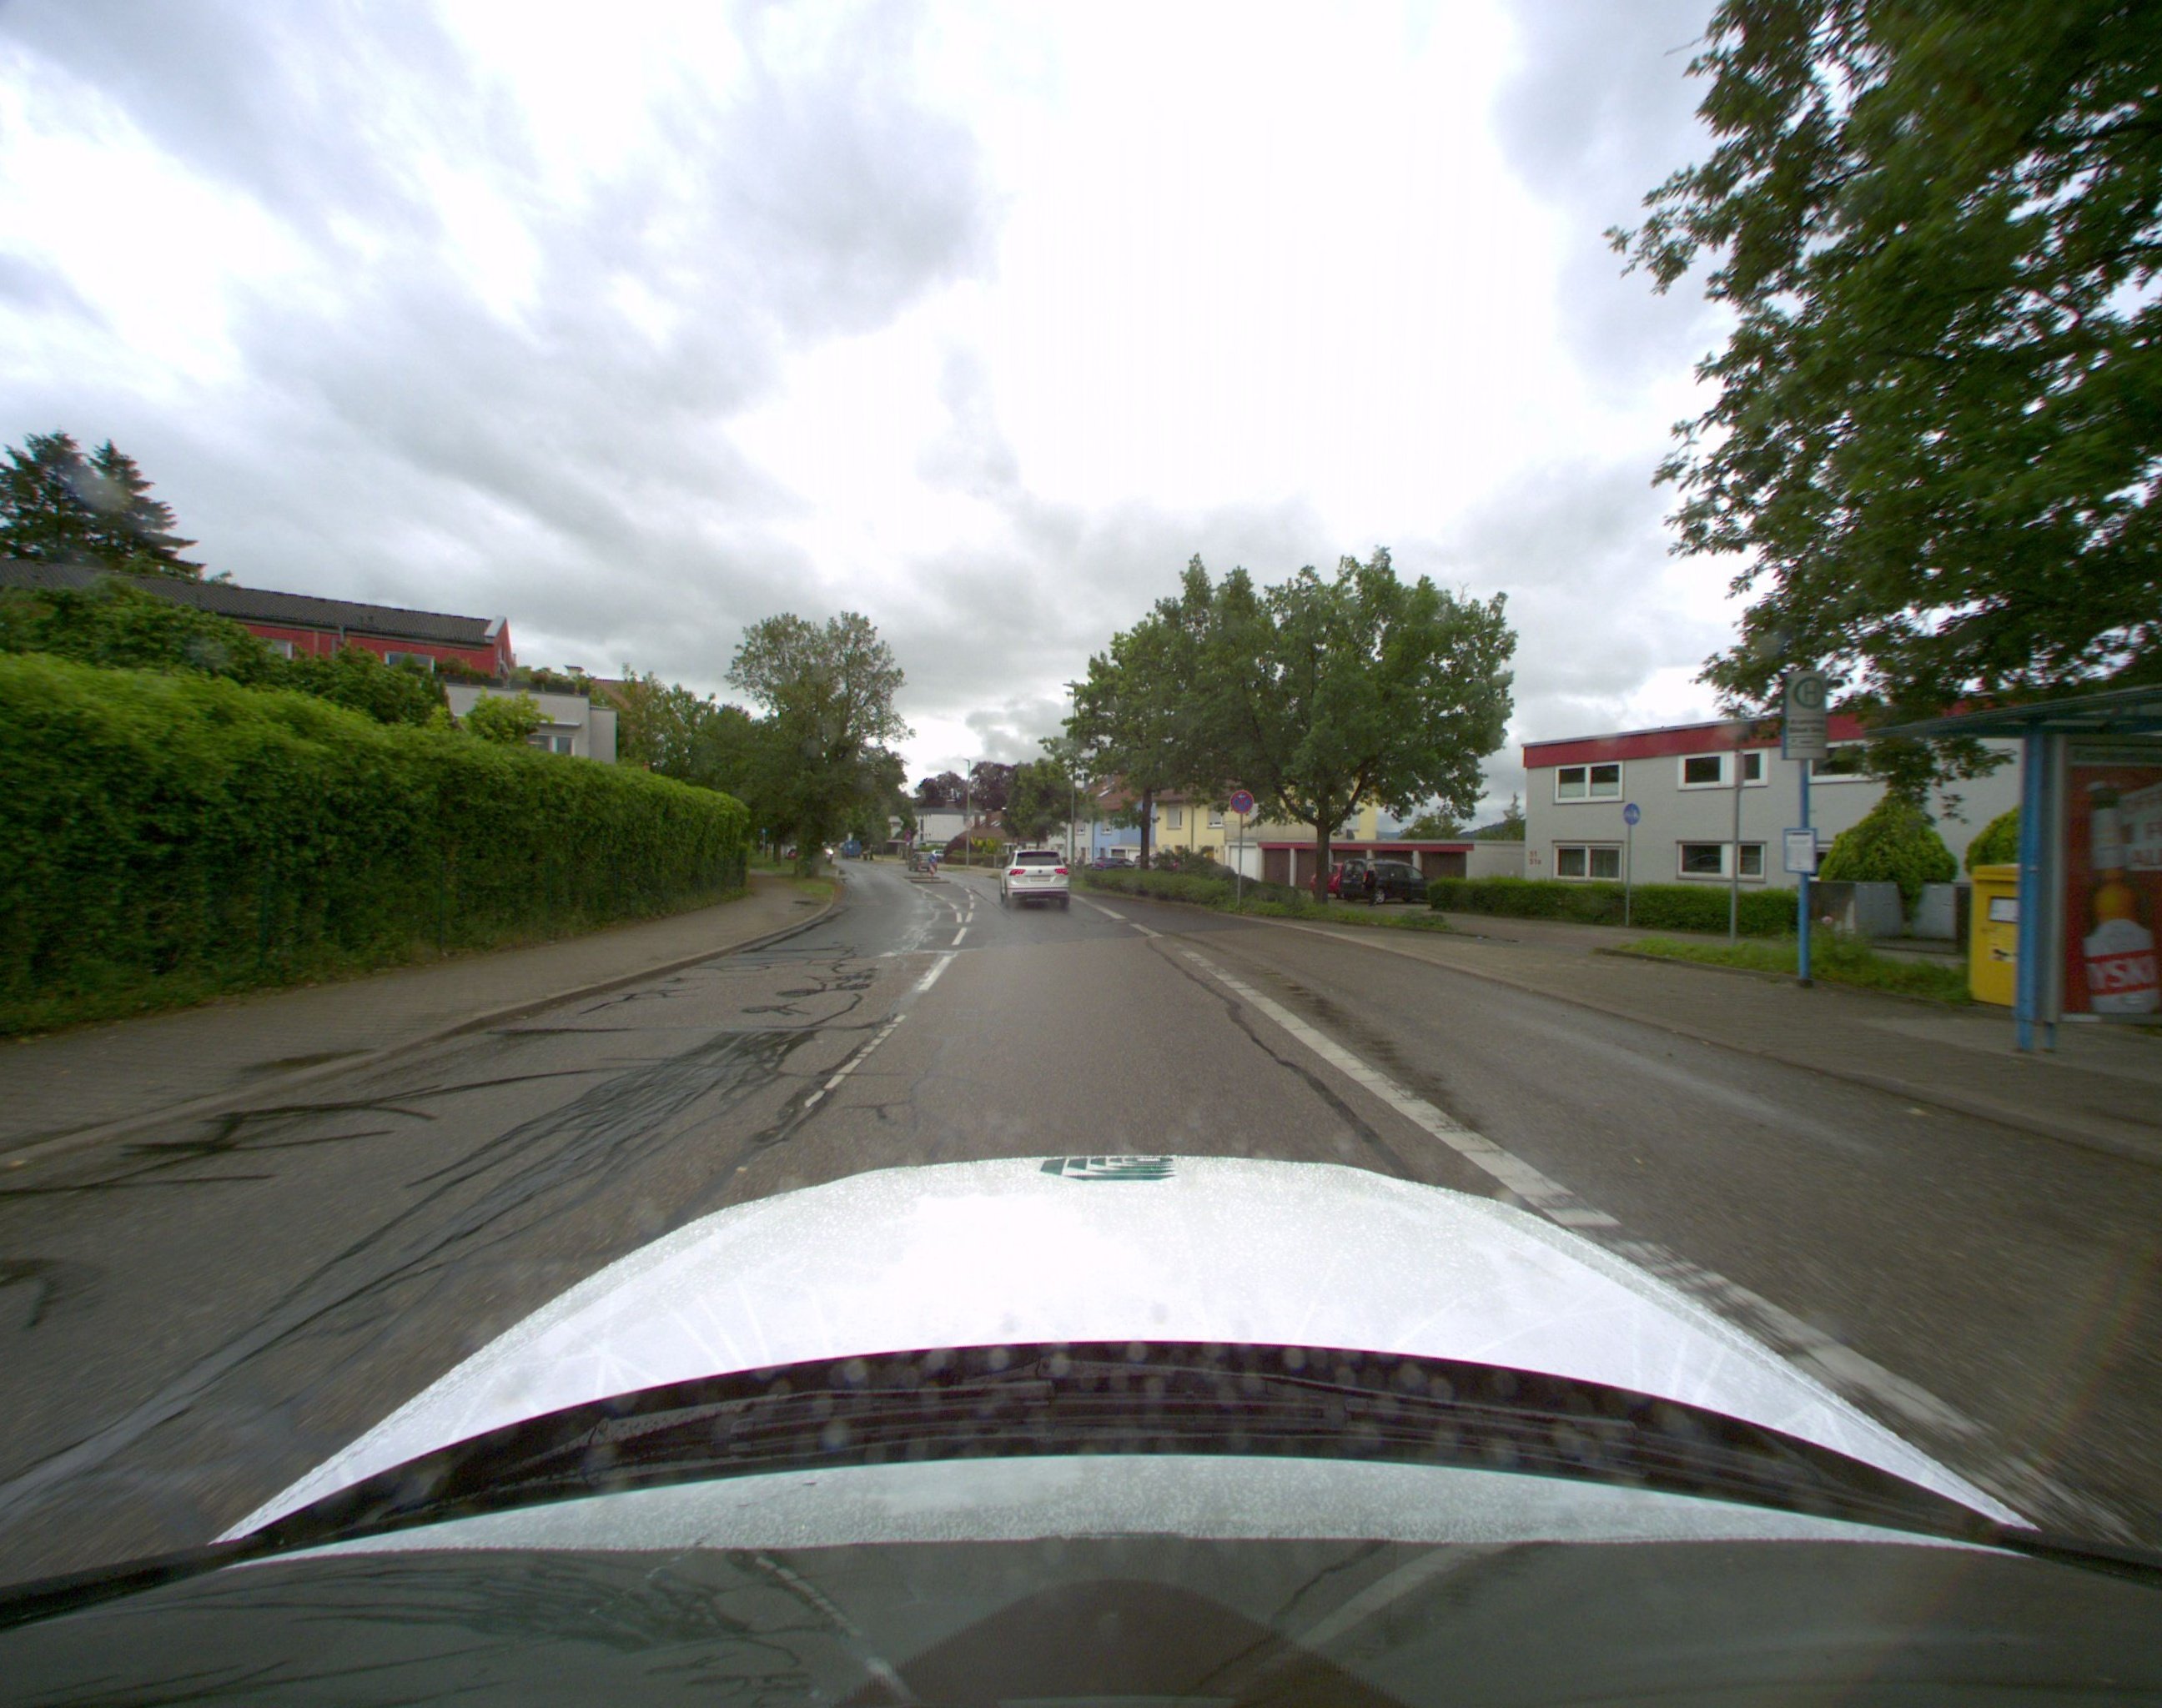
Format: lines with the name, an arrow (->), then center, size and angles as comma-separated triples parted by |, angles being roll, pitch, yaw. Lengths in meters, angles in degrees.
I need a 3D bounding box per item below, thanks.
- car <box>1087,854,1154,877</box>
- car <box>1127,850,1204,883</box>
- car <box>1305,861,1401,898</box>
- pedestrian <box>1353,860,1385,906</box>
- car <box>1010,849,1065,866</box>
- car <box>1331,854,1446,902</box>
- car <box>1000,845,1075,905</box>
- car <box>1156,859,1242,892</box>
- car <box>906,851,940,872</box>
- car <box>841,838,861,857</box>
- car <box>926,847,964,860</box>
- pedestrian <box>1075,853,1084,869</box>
car -> 2.574, 0.746, 52.830 | 4.009, 1.387, 1.660 | 1, 0, -27
car -> 4.861, 0.715, 46.731 | 4.207, 1.671, 1.705 | 3, -1, -32
car -> 11.316, 1.021, 33.877 | 3.711, 1.442, 1.692 | 1, 0, -26
pedestrian -> 10.169, 1.009, 28.800 | 0.668, 1.558, 0.834 | -1, 1, -30
car -> -3.574, 0.332, 67.635 | 4.334, 1.260, 1.662 | 2, 0, -35
car -> 11.809, 0.899, 31.260 | 4.007, 1.721, 1.908 | 1, 0, -26
car -> -1.376, 0.562, 24.279 | 1.864, 1.650, 3.988 | 0, 0, -8
car -> 6.376, 1.124, 43.871 | 4.198, 1.671, 1.976 | 0, 0, -24
car -> -12.294, 0.551, 63.089 | 1.777, 1.551, 3.969 | 1, 0, -24
car -> -33.142, -0.982, 117.271 | 2.003, 2.586, 5.588 | -1, 2, -25
car -> -15.725, -0.020, 94.200 | 4.008, 1.442, 1.831 | 0, 0, -26
pedestrian -> -0.120, 0.589, 67.147 | 0.539, 1.351, 0.523 | 1, 0, -38
